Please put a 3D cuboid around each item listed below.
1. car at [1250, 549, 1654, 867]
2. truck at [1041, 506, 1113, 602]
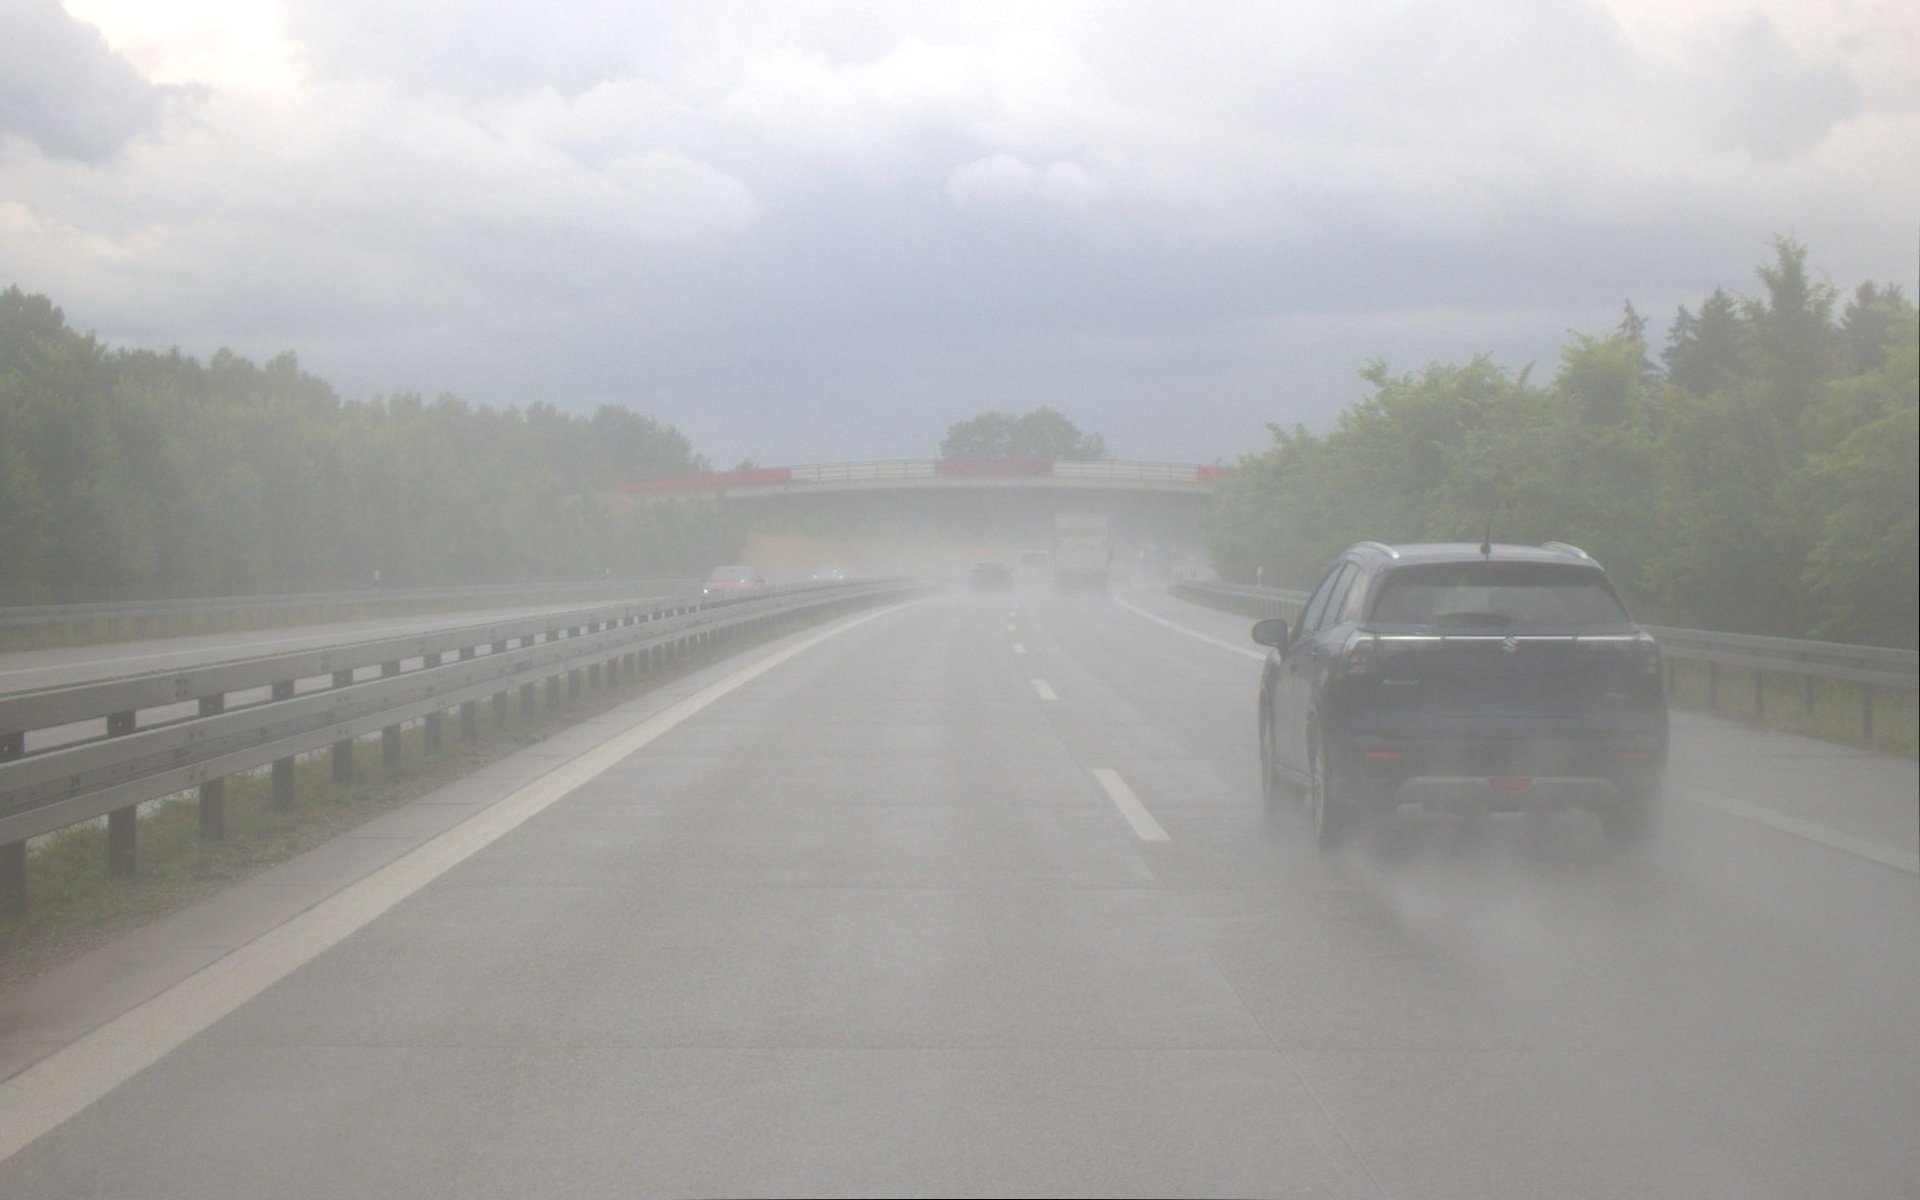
[{"bbox_3d":[2.622,0.526,19.090,1.894,1.570,3.631,1,0,3],"label":"car"},{"bbox_3d":[5.497,-2.205,162.667,3.243,4.422,8.246,0,1,1],"label":"truck"}]
